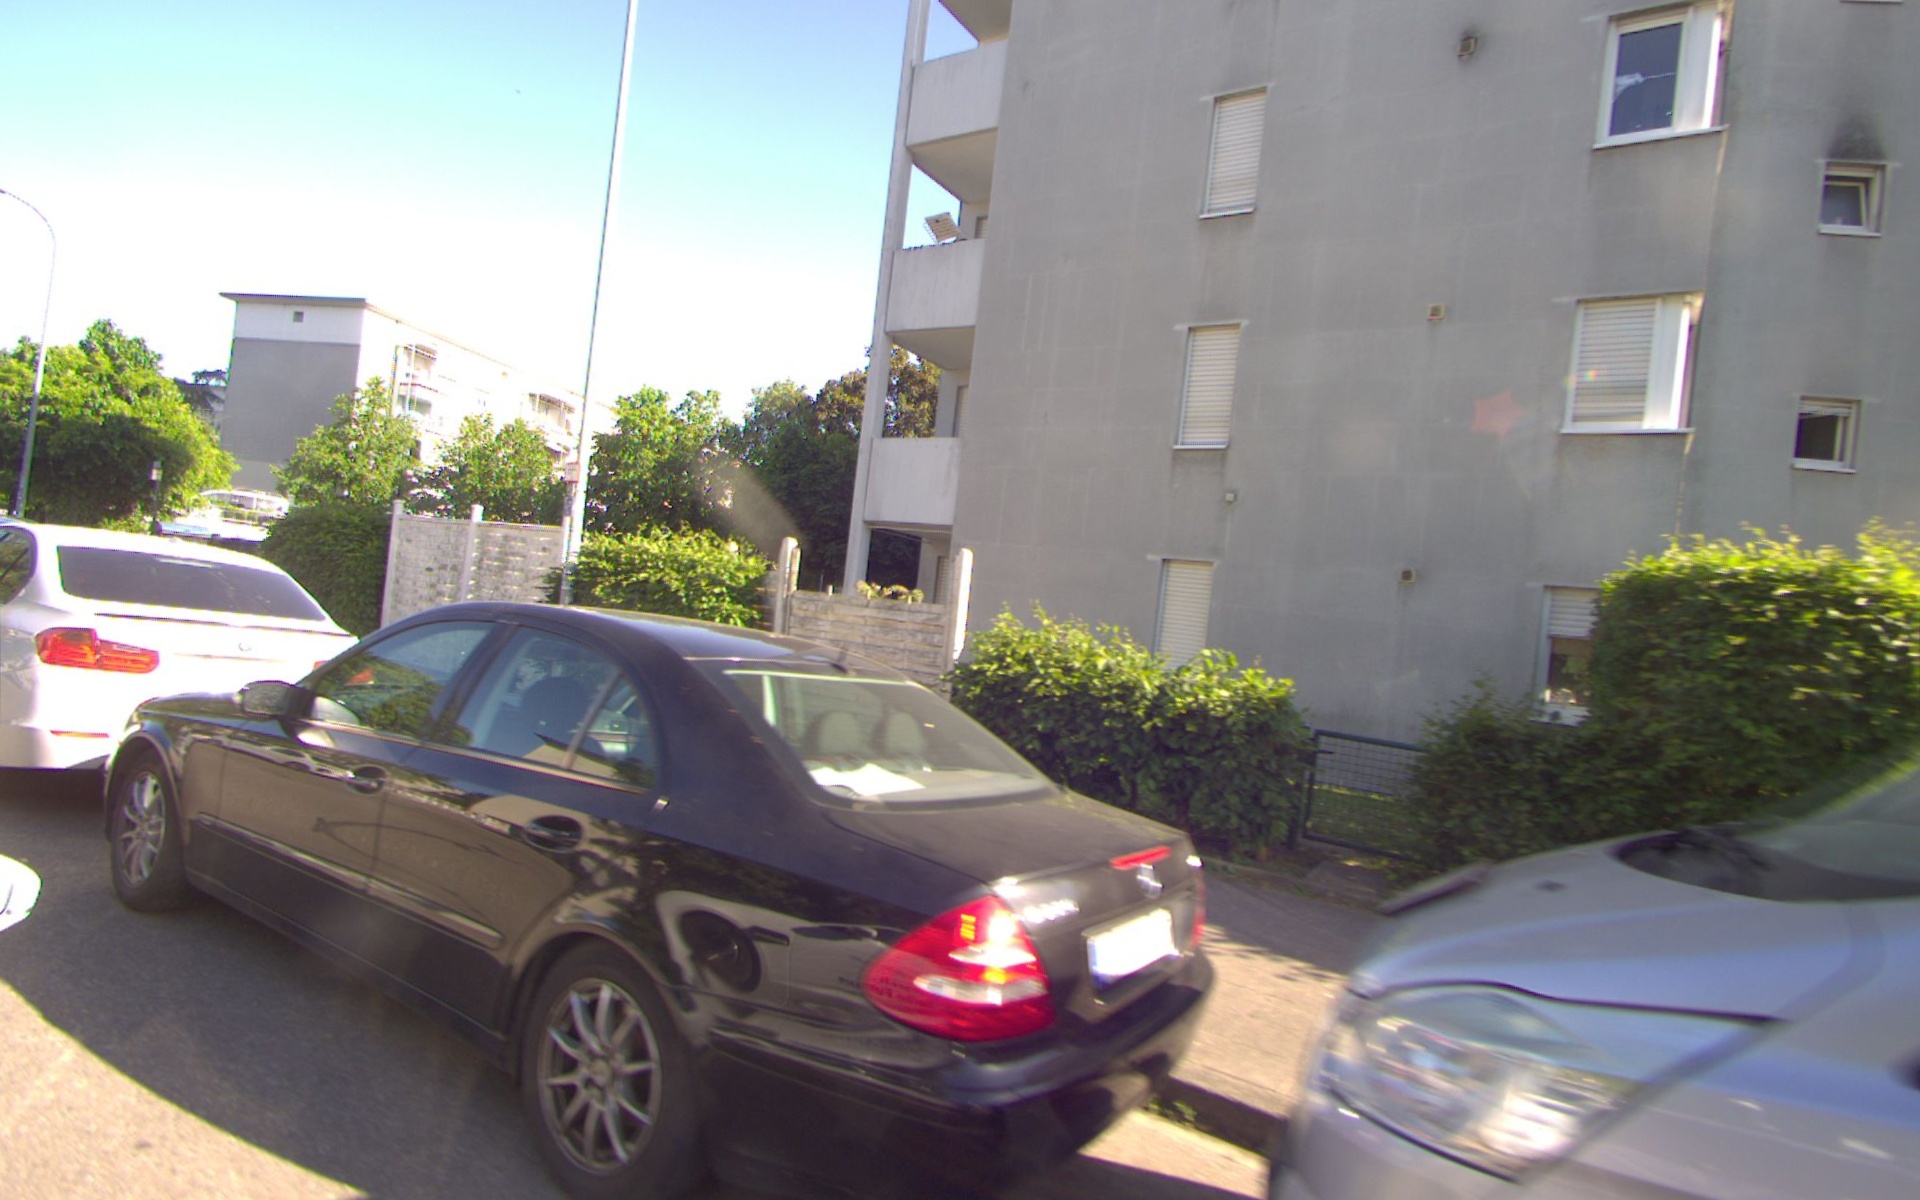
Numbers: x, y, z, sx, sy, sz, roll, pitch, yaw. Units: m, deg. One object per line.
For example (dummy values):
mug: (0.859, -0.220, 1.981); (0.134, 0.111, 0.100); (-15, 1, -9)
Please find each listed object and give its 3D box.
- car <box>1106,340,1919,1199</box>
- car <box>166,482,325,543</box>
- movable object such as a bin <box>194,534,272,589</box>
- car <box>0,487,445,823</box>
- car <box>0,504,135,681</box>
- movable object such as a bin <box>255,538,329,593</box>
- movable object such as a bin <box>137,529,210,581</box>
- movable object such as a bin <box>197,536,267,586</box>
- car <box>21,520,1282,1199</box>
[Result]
car: (2.794, 0.917, 0.960); (4.874, 1.935, 1.996); (6, -1, 33)
car: (-22.948, -2.785, 32.427); (1.830, 1.331, 3.742); (6, -2, 38)
movable object such as a bin: (-20.044, -1.055, 27.729); (1.363, 1.321, 1.410); (6, -1, 43)
car: (-5.480, 0.166, 6.523); (4.306, 1.506, 1.911); (6, -1, 35)
car: (-10.103, -0.249, 9.873); (4.306, 1.506, 1.911); (6, -1, 35)
movable object such as a bin: (-19.190, -0.989, 28.898); (1.363, 1.391, 1.424); (6, 0, 42)
movable object such as a bin: (-23.153, -1.326, 29.608); (1.363, 1.321, 1.410); (6, -1, 43)
movable object such as a bin: (-22.194, -1.181, 30.687); (1.363, 1.321, 1.410); (6, -1, 43)
car: (-1.491, 0.649, 3.993); (4.843, 1.434, 1.997); (6, -1, 32)
